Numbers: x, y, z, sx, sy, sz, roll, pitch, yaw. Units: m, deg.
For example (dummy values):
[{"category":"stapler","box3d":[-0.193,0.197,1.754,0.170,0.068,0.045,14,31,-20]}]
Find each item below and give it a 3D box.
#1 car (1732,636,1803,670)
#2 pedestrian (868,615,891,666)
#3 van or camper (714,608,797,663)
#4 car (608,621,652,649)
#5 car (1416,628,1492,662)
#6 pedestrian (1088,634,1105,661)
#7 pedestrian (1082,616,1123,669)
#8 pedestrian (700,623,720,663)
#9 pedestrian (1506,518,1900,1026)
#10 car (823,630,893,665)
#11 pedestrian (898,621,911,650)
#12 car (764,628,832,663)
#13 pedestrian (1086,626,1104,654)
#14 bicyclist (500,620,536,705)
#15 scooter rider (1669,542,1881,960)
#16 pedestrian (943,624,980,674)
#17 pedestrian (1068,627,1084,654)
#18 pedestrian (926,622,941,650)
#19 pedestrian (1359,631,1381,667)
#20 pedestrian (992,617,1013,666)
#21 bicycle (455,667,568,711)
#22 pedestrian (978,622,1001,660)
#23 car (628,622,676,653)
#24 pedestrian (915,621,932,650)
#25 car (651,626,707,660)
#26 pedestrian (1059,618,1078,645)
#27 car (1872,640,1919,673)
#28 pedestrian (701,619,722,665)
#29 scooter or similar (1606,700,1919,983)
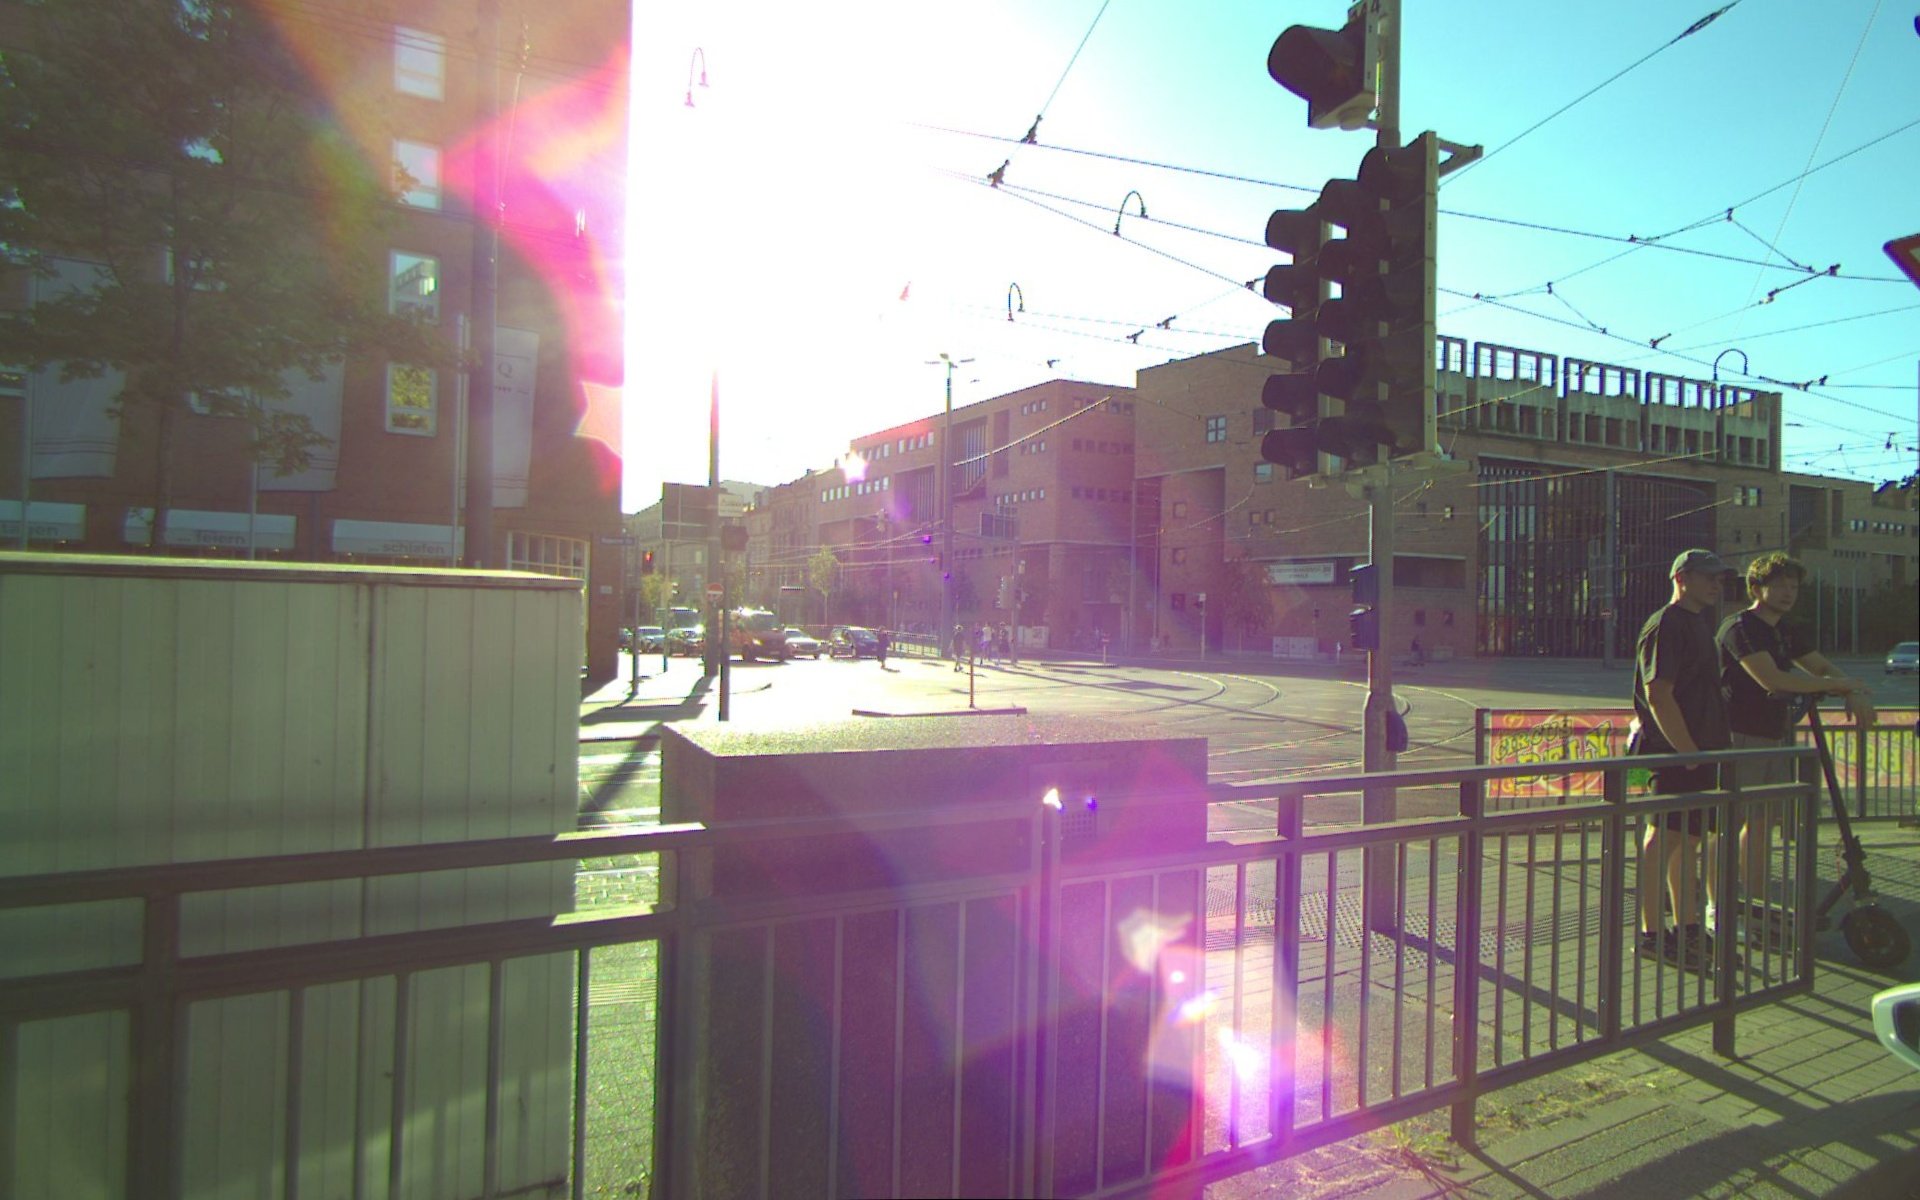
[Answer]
[{"category":"car","box3d":[50.736,3.322,63.084,4.415,2.040,1.869,2,-2,-28]},{"category":"pedestrian","box3d":[-3.311,1.661,41.294,0.722,2.040,0.610,1,-1,-23]},{"category":"van or camper","box3d":[-9.767,1.675,47.654,1.981,2.451,4.980,2,-2,-36]},{"category":"car","box3d":[-21.367,2.269,64.931,1.738,1.750,3.965,2,-2,-32]},{"category":"car","box3d":[30.441,2.787,61.888,4.132,2.040,1.990,2,-2,-22]},{"category":"pedestrian","box3d":[10.608,3.700,78.097,0.841,2.079,1.001,2,-2,-32]},{"category":"pedestrian","box3d":[5.632,1.672,39.711,1.193,2.040,1.028,2,0,-30]},{"category":"pedestrian","box3d":[-11.796,2.016,47.342,0.597,1.843,0.848,2,-2,-38]},{"category":"pedestrian","box3d":[3.258,0.670,4.505,0.843,1.908,1.164,1,-2,-25]},{"category":"car","box3d":[-5.265,2.399,51.493,1.978,1.709,3.965,2,-2,-32]},{"category":"pedestrian","box3d":[-4.015,2.568,72.879,0.644,2.040,0.780,2,-2,-32]},{"category":"car","box3d":[-8.256,2.277,50.874,1.978,1.709,3.965,2,-2,-32]},{"category":"pedestrian","box3d":[10.248,3.032,76.292,0.841,2.079,1.001,2,-2,-32]},{"category":"bicyclist","box3d":[-8.730,1.220,19.835,0.510,1.647,0.583,2,-2,-36]},{"category":"scooter rider","box3d":[3.987,0.698,4.926,0.670,1.877,0.564,3,-2,-25]},{"category":"pedestrian","box3d":[0.059,1.819,37.492,0.942,1.822,0.989,2,0,37]},{"category":"pedestrian","box3d":[9.015,3.135,77.997,0.841,2.079,1.001,2,-2,-32]},{"category":"pedestrian","box3d":[-1.873,2.555,71.057,0.742,2.010,0.780,2,-2,-32]},{"category":"pedestrian","box3d":[22.922,2.731,56.098,0.866,1.927,0.718,2,0,-33]},{"category":"pedestrian","box3d":[1.805,1.762,42.467,0.603,2.040,0.731,0,-2,31]},{"category":"bicycle","box3d":[-8.806,1.740,19.775,1.948,0.781,0.586,2,-2,-36]},{"category":"pedestrian","box3d":[1.364,1.911,46.721,0.857,1.775,0.672,2,-2,-30]},{"category":"car","box3d":[-18.441,2.229,59.977,1.738,1.750,3.965,2,-2,-32]},{"category":"pedestrian","box3d":[-2.564,2.524,70.574,0.917,2.010,0.780,2,-2,-32]},{"category":"car","box3d":[-15.151,2.275,54.042,1.739,1.750,3.964,2,-2,-33]},{"category":"pedestrian","box3d":[8.346,2.412,77.024,0.902,2.040,1.151,2,-2,-33]},{"category":"car","box3d":[48.432,2.883,51.571,3.962,1.598,1.610,2,-2,-36]},{"category":"pedestrian","box3d":[-11.132,1.857,44.964,0.597,2.040,0.848,2,-2,-38]},{"category":"scooter or similar","box3d":[3.962,1.084,4.921,0.639,1.095,1.199,2,-2,-25]}]
